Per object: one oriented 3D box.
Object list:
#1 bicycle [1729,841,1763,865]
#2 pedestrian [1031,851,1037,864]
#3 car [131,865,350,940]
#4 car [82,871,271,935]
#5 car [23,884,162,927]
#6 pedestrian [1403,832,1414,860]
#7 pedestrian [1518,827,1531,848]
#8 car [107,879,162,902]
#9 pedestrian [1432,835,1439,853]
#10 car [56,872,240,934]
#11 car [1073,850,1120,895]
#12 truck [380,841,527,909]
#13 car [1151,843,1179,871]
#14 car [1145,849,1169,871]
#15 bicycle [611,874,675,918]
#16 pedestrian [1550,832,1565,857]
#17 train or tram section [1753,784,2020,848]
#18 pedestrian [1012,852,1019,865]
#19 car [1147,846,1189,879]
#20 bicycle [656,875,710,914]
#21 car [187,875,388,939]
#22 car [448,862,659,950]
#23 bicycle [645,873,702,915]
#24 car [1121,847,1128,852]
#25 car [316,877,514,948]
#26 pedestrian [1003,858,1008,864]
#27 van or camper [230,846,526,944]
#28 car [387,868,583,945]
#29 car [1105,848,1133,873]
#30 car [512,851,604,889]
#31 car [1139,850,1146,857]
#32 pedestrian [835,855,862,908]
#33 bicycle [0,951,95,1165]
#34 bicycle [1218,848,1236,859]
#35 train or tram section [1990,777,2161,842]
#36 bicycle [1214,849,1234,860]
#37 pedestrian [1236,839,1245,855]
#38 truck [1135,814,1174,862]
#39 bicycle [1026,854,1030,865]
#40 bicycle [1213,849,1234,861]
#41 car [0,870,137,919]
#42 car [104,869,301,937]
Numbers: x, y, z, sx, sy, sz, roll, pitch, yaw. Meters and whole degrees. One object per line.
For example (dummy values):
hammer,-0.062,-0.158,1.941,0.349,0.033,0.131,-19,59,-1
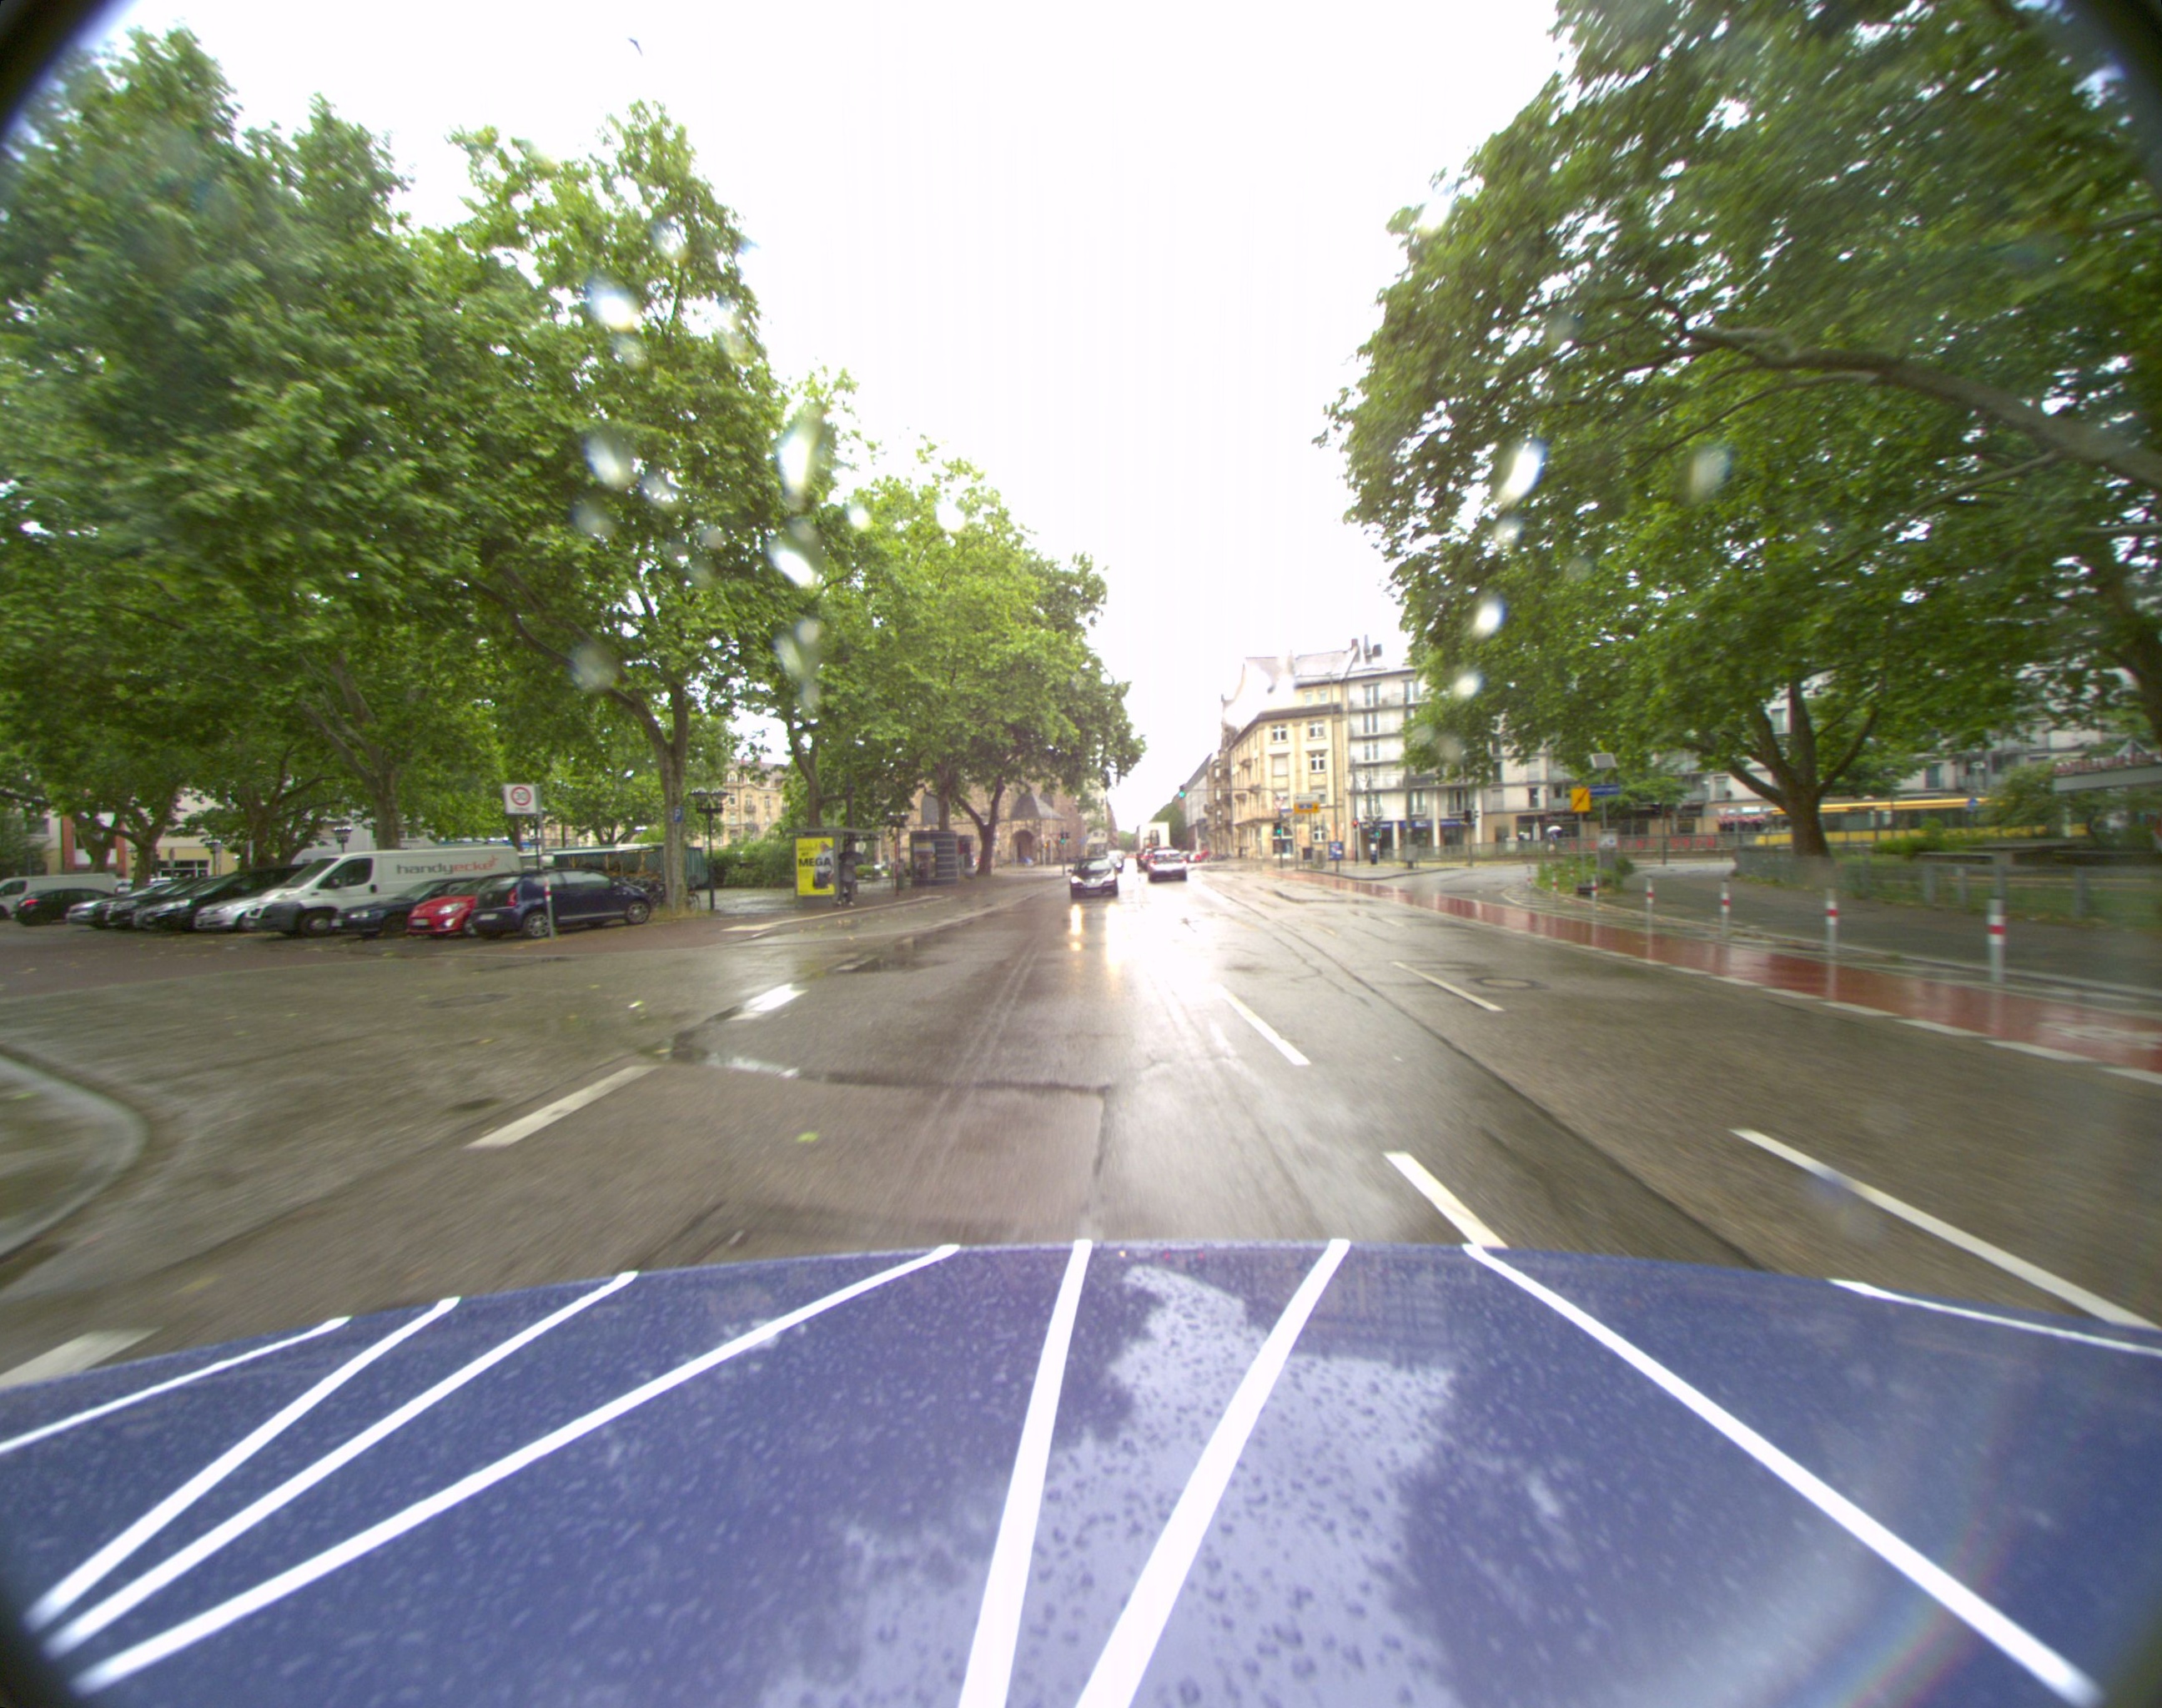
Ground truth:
bicycle,28.274,-0.044,32.302,2.321,0.864,0.637,-4,1,-38
pedestrian,-6.066,0.486,98.218,0.604,1.654,0.689,-2,0,7
car,-25.663,1.403,23.363,2.156,1.828,4.006,-1,3,29
car,-32.619,1.694,27.528,1.835,1.828,4.006,-1,3,29
car,-42.707,2.196,32.909,1.550,1.458,3.371,-1,3,29
pedestrian,24.584,-0.594,56.981,0.701,2.065,0.638,-1,1,23
pedestrian,35.514,-1.345,60.856,0.754,1.639,0.839,-1,1,24
car,-64.258,2.441,51.587,3.989,1.444,1.680,-1,1,30
pedestrian,36.170,-1.001,77.500,0.610,1.770,0.500,-1,1,29
car,-34.914,1.761,28.568,1.835,1.828,4.006,-1,3,29
car,0.640,0.648,29.053,1.547,1.553,4.072,-1,0,4
truck,-27.172,0.897,32.863,6.384,2.684,2.271,-2,1,25
car,5.892,0.198,53.912,1.810,1.851,4.110,-2,0,5
car,5.928,0.415,59.329,1.746,1.595,4.001,-2,0,5
bicycle,-13.076,1.255,22.681,1.836,1.251,0.711,-1,1,25
pedestrian,32.823,-0.653,52.361,0.815,1.639,0.795,0,1,27
train or tram section,51.707,-2.319,49.433,11.547,3.484,3.078,-1,1,28
pedestrian,-8.718,0.542,101.242,0.676,1.693,0.635,-1,1,42
car,4.409,0.395,38.864,1.849,1.501,4.056,-2,0,3
bicycle,-12.418,1.259,23.699,1.762,1.188,0.500,-1,1,25
car,-23.396,1.496,22.553,1.680,1.424,3.741,-1,3,30
car,-11.804,1.096,17.295,1.690,1.542,3.526,-1,3,20
bicycle,-12.689,1.250,23.645,1.836,1.251,0.526,-1,1,25
car,15.057,-1.579,260.485,1.997,1.705,3.804,-1,0,8
car,-16.451,1.367,18.921,1.583,1.329,3.266,-1,3,28
pedestrian,-10.267,0.971,103.380,0.455,0.879,0.397,-1,1,24
van or camper,-18.939,0.962,20.836,2.398,2.218,5.439,-1,1,32
car,-14.226,1.199,18.376,1.527,1.449,3.392,-2,3,15
car,2.800,0.448,55.356,1.810,1.683,4.110,-2,0,5
car,-30.470,0.906,44.365,1.950,2.002,3.876,-1,1,29
car,15.581,-0.165,191.703,1.747,1.537,3.779,-1,0,3
pedestrian,-7.518,0.872,24.578,0.719,1.659,0.664,-2,1,-20
bicycle,-7.413,1.175,3.690,3.218,1.105,1.053,-2,-1,-14
bicycle,18.220,-0.043,94.741,2.062,1.338,0.585,-2,0,-1
train or tram section,61.921,-2.629,44.005,11.547,3.484,3.078,-1,1,28
bicycle,17.743,0.046,94.480,2.346,1.338,0.640,-2,0,-1
pedestrian,19.372,-0.856,92.327,0.920,1.955,0.700,-2,3,7
truck,6.606,-1.375,69.640,2.852,4.002,10.317,-1,0,2
bicycle,-6.862,0.683,98.222,0.533,1.458,1.939,-2,0,-5
bicycle,17.597,0.128,93.830,2.346,1.338,0.640,-2,0,-1
car,-53.391,2.077,40.117,1.550,2.191,4.104,-1,3,29
car,-30.042,1.605,26.135,1.835,1.828,4.006,-1,3,29
